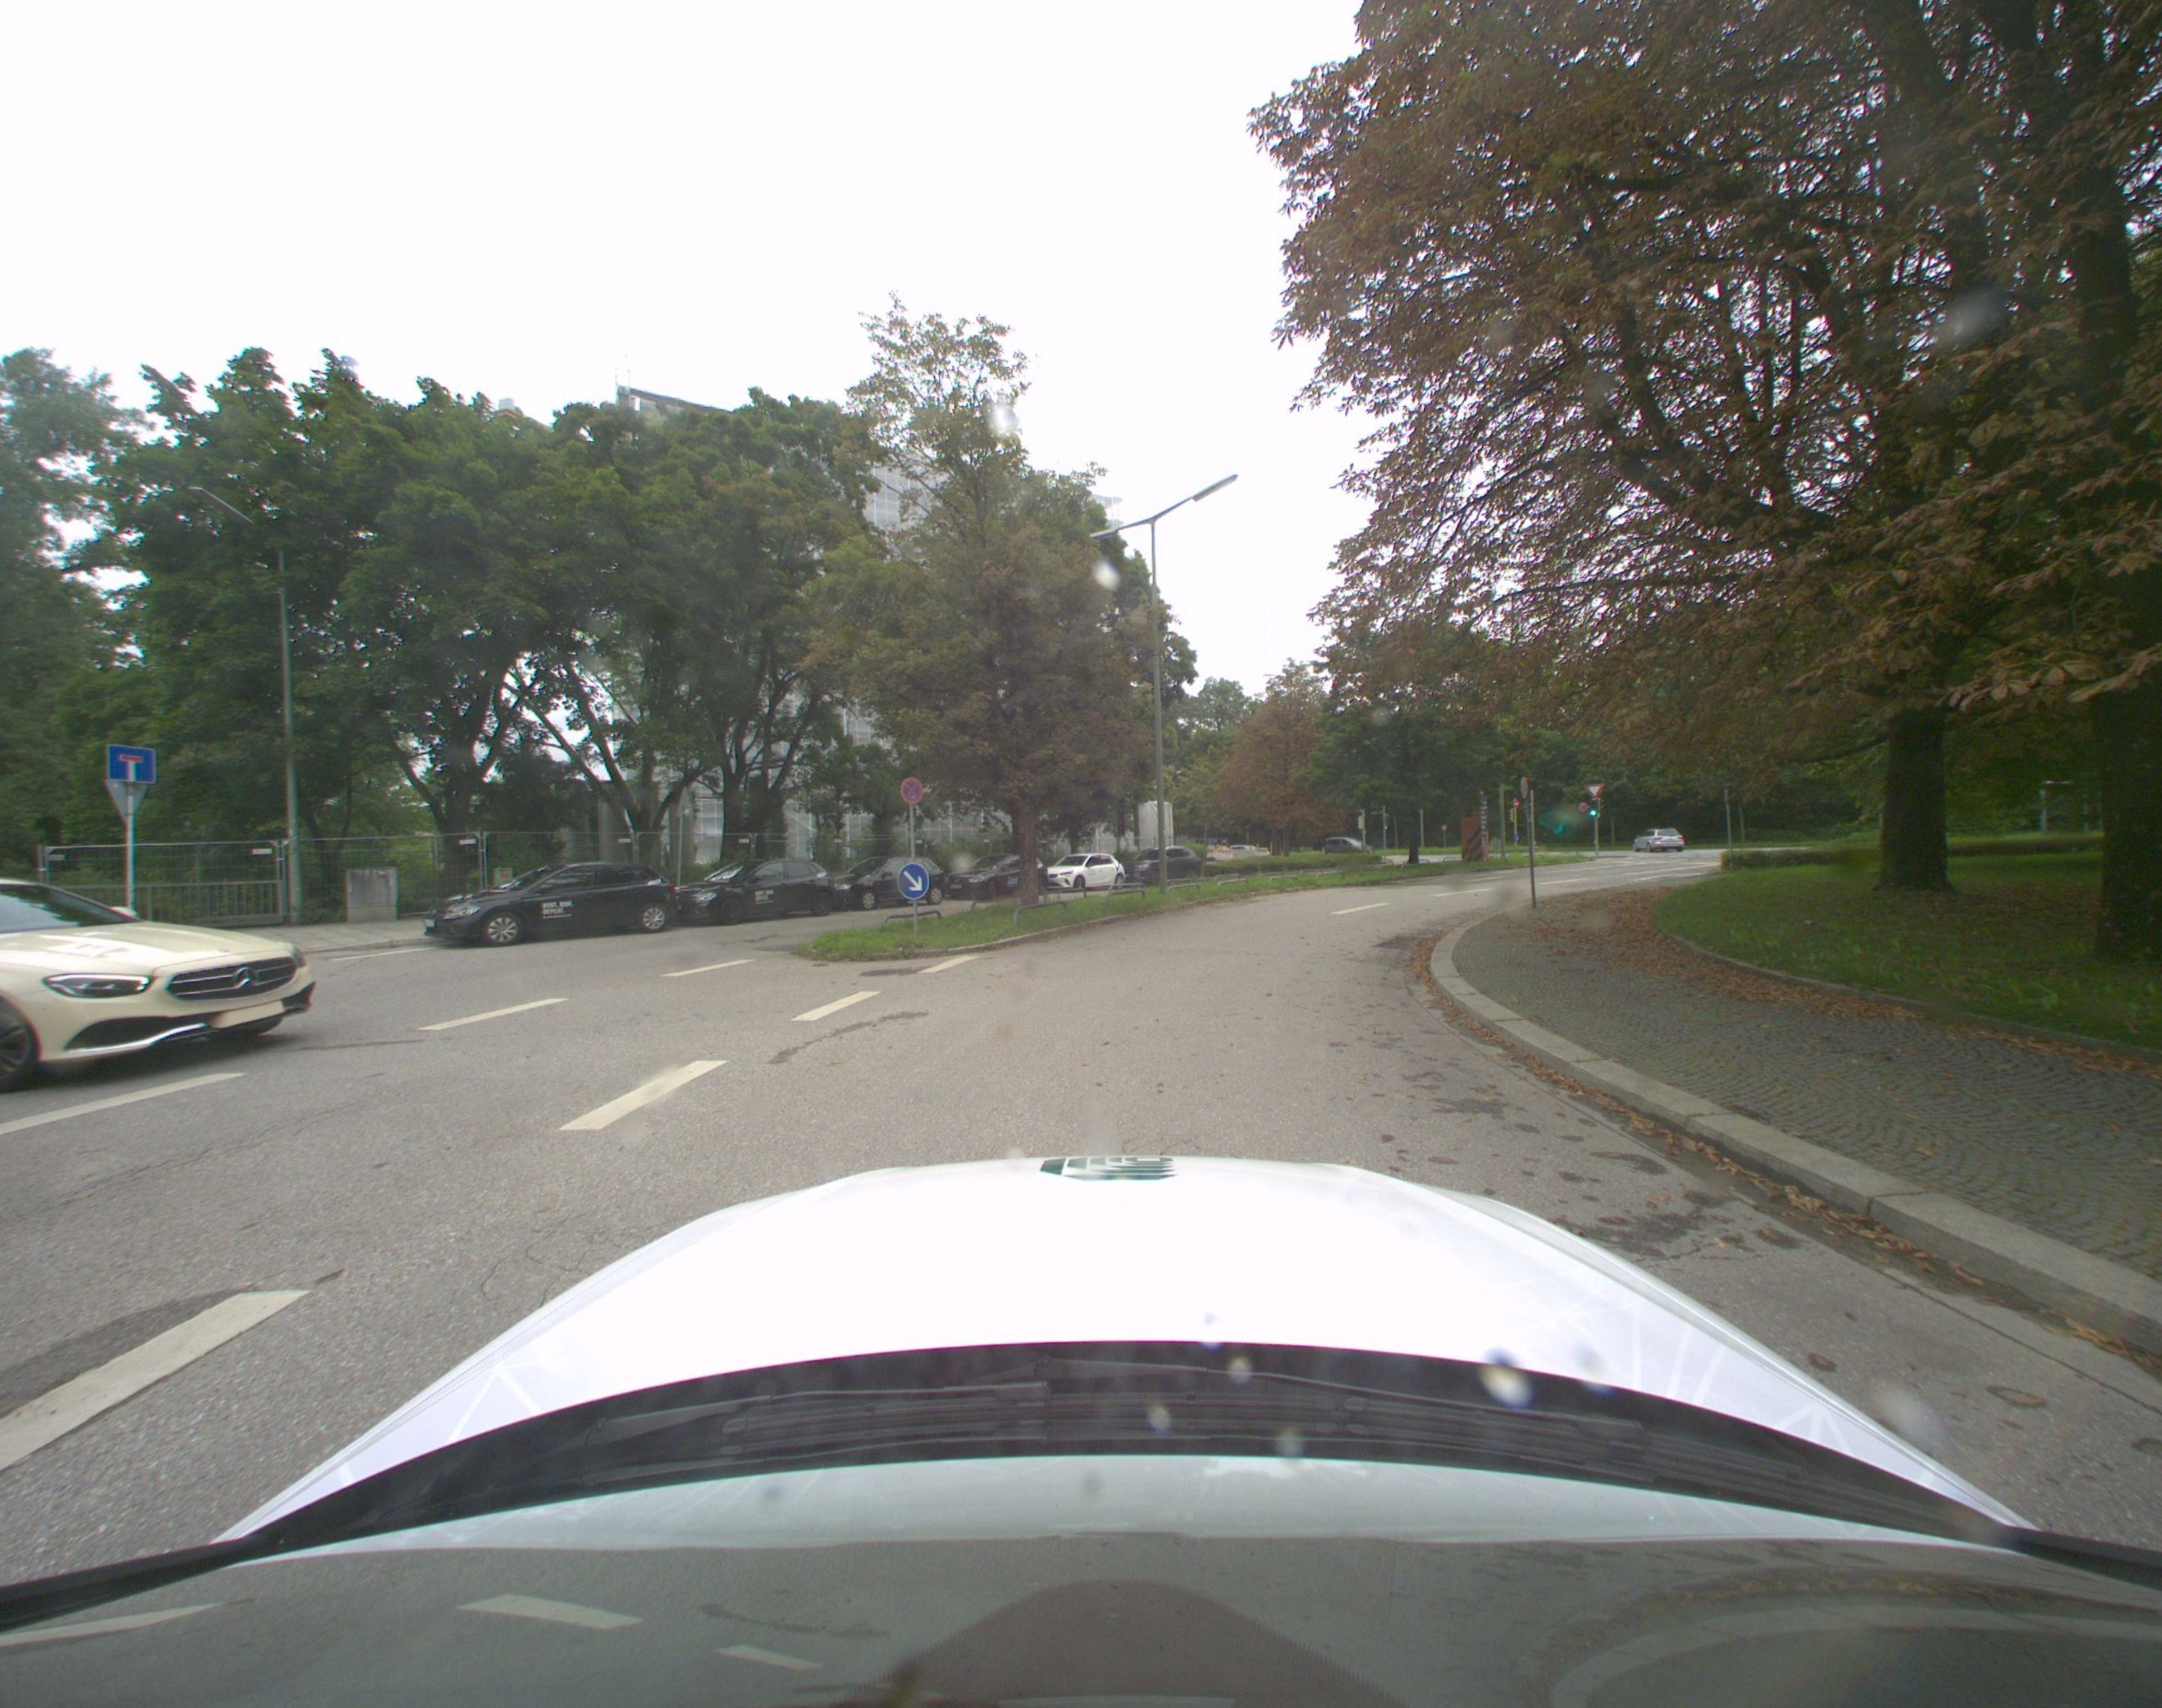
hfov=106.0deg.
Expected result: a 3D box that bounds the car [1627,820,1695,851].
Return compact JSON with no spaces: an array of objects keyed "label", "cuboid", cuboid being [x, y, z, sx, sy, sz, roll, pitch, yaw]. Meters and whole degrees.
[{"label":"car","cuboid":[35.701,-1.129,50.253,1.979,1.750,4.140,-2,0,13]}]

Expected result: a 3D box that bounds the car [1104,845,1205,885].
[{"label":"car","cuboid":[3.182,0.476,34.585,1.868,1.606,4.422,-2,-2,44]}]

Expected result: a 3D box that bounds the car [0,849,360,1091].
[{"label":"car","cuboid":[-8.752,0.799,6.132,4.824,1.545,1.893,-2,0,-2]}]

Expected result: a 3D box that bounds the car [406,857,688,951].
[{"label":"car","cuboid":[-10.041,0.830,15.610,1.974,1.432,4.069,0,1,34]}]

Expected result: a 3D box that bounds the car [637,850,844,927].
[{"label":"car","cuboid":[-7.843,0.744,19.102,1.974,1.541,4.026,-2,0,34]}]

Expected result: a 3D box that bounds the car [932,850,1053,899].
[{"label":"car","cuboid":[-2.854,0.635,27.173,1.816,1.461,4.031,-2,-1,34]}]

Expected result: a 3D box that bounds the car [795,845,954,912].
[{"label":"car","cuboid":[-5.742,0.631,23.033,1.974,1.706,4.026,-2,-1,34]}]

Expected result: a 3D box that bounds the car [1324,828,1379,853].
[{"label":"car","cuboid":[23.101,-1.125,69.660,2.009,2.013,3.955,-2,0,-37]}]

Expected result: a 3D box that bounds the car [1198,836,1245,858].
[{"label":"car","cuboid":[13.512,-0.698,78.496,2.009,2.013,4.110,-2,0,-37]}]

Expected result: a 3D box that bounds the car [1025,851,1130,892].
[{"label":"car","cuboid":[-0.049,0.636,31.092,1.778,1.383,4.245,-2,-1,36]}]
